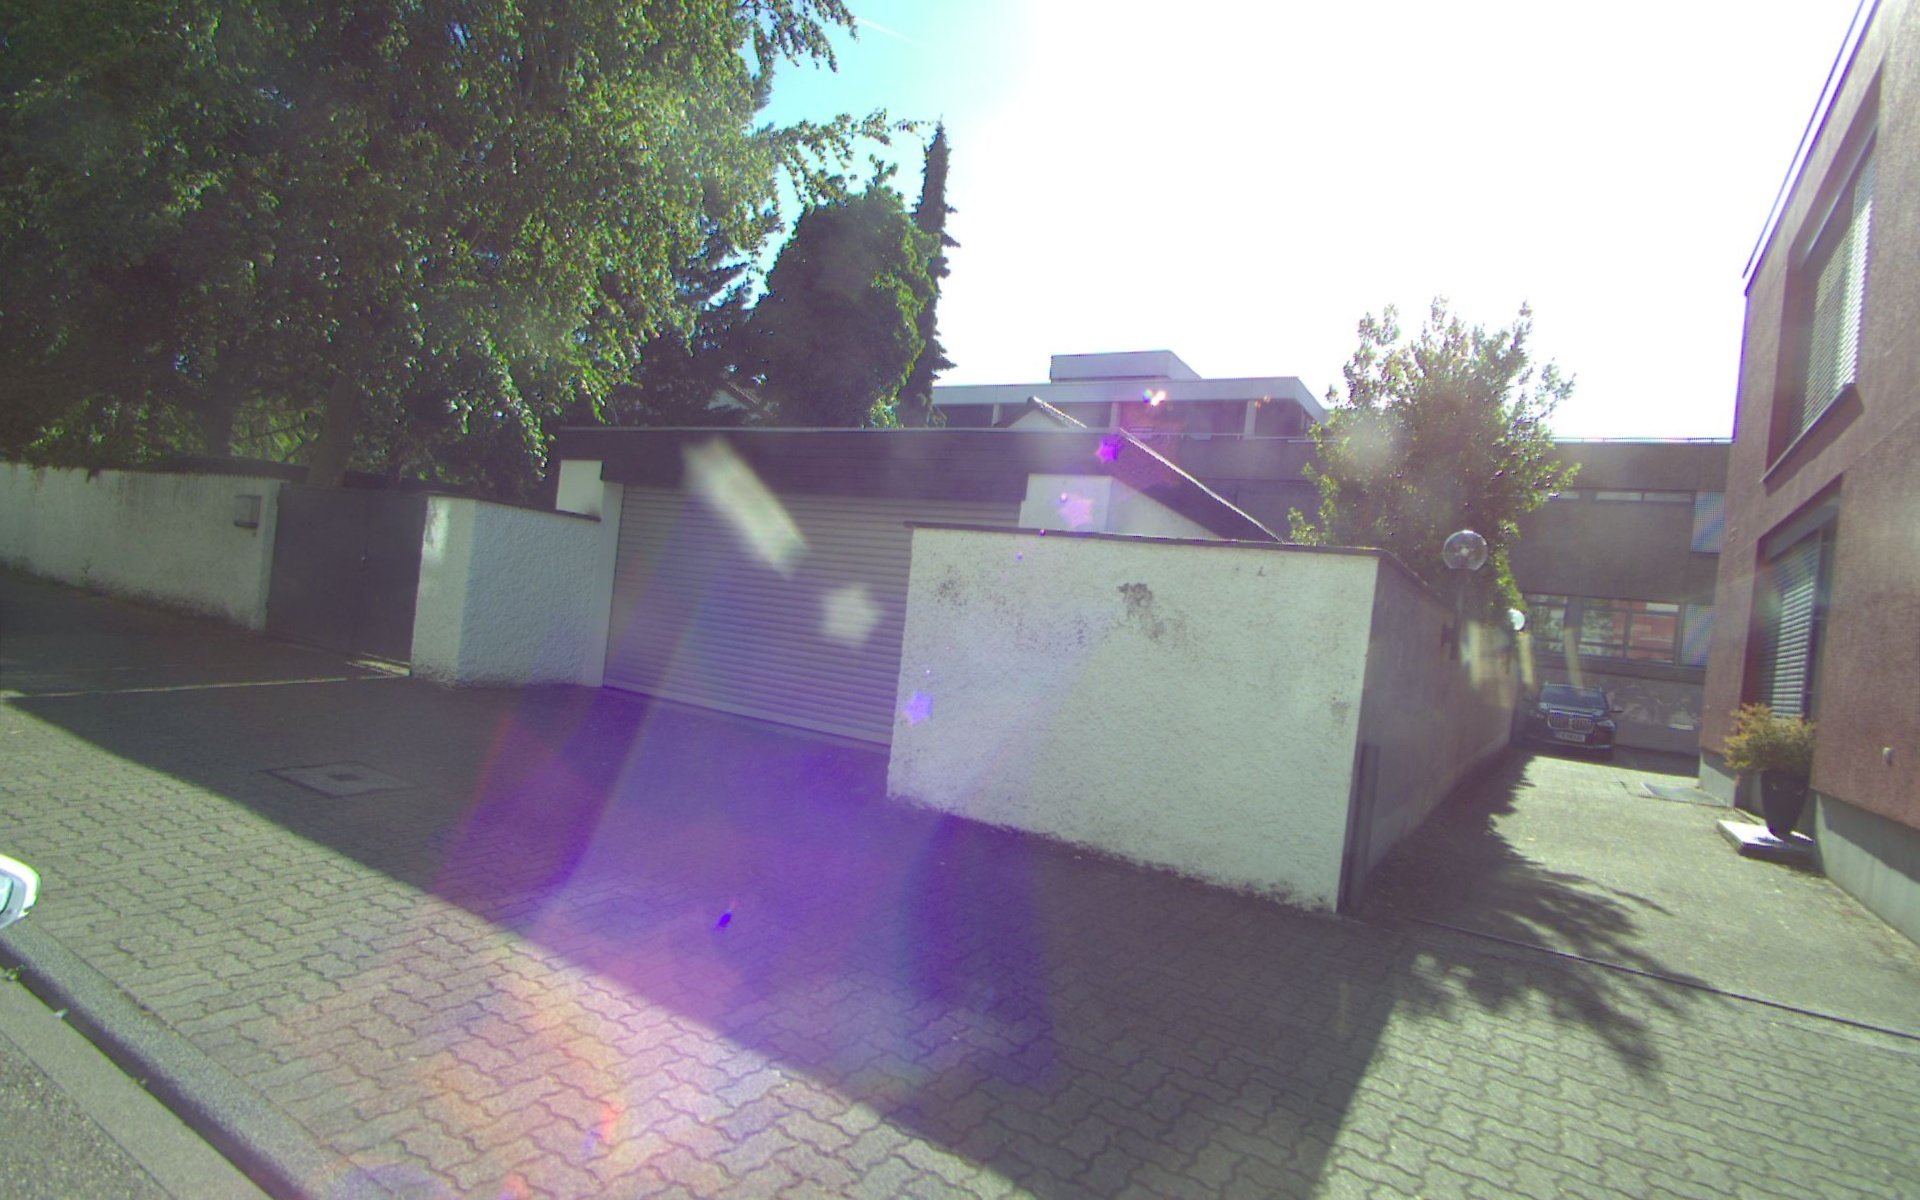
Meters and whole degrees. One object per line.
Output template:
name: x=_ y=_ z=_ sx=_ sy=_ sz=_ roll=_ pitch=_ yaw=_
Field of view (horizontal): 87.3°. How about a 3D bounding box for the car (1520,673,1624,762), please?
car: x=14.577 y=2.767 z=23.976 sx=1.805 sy=1.681 sz=3.993 roll=7 pitch=-2 yaw=32
